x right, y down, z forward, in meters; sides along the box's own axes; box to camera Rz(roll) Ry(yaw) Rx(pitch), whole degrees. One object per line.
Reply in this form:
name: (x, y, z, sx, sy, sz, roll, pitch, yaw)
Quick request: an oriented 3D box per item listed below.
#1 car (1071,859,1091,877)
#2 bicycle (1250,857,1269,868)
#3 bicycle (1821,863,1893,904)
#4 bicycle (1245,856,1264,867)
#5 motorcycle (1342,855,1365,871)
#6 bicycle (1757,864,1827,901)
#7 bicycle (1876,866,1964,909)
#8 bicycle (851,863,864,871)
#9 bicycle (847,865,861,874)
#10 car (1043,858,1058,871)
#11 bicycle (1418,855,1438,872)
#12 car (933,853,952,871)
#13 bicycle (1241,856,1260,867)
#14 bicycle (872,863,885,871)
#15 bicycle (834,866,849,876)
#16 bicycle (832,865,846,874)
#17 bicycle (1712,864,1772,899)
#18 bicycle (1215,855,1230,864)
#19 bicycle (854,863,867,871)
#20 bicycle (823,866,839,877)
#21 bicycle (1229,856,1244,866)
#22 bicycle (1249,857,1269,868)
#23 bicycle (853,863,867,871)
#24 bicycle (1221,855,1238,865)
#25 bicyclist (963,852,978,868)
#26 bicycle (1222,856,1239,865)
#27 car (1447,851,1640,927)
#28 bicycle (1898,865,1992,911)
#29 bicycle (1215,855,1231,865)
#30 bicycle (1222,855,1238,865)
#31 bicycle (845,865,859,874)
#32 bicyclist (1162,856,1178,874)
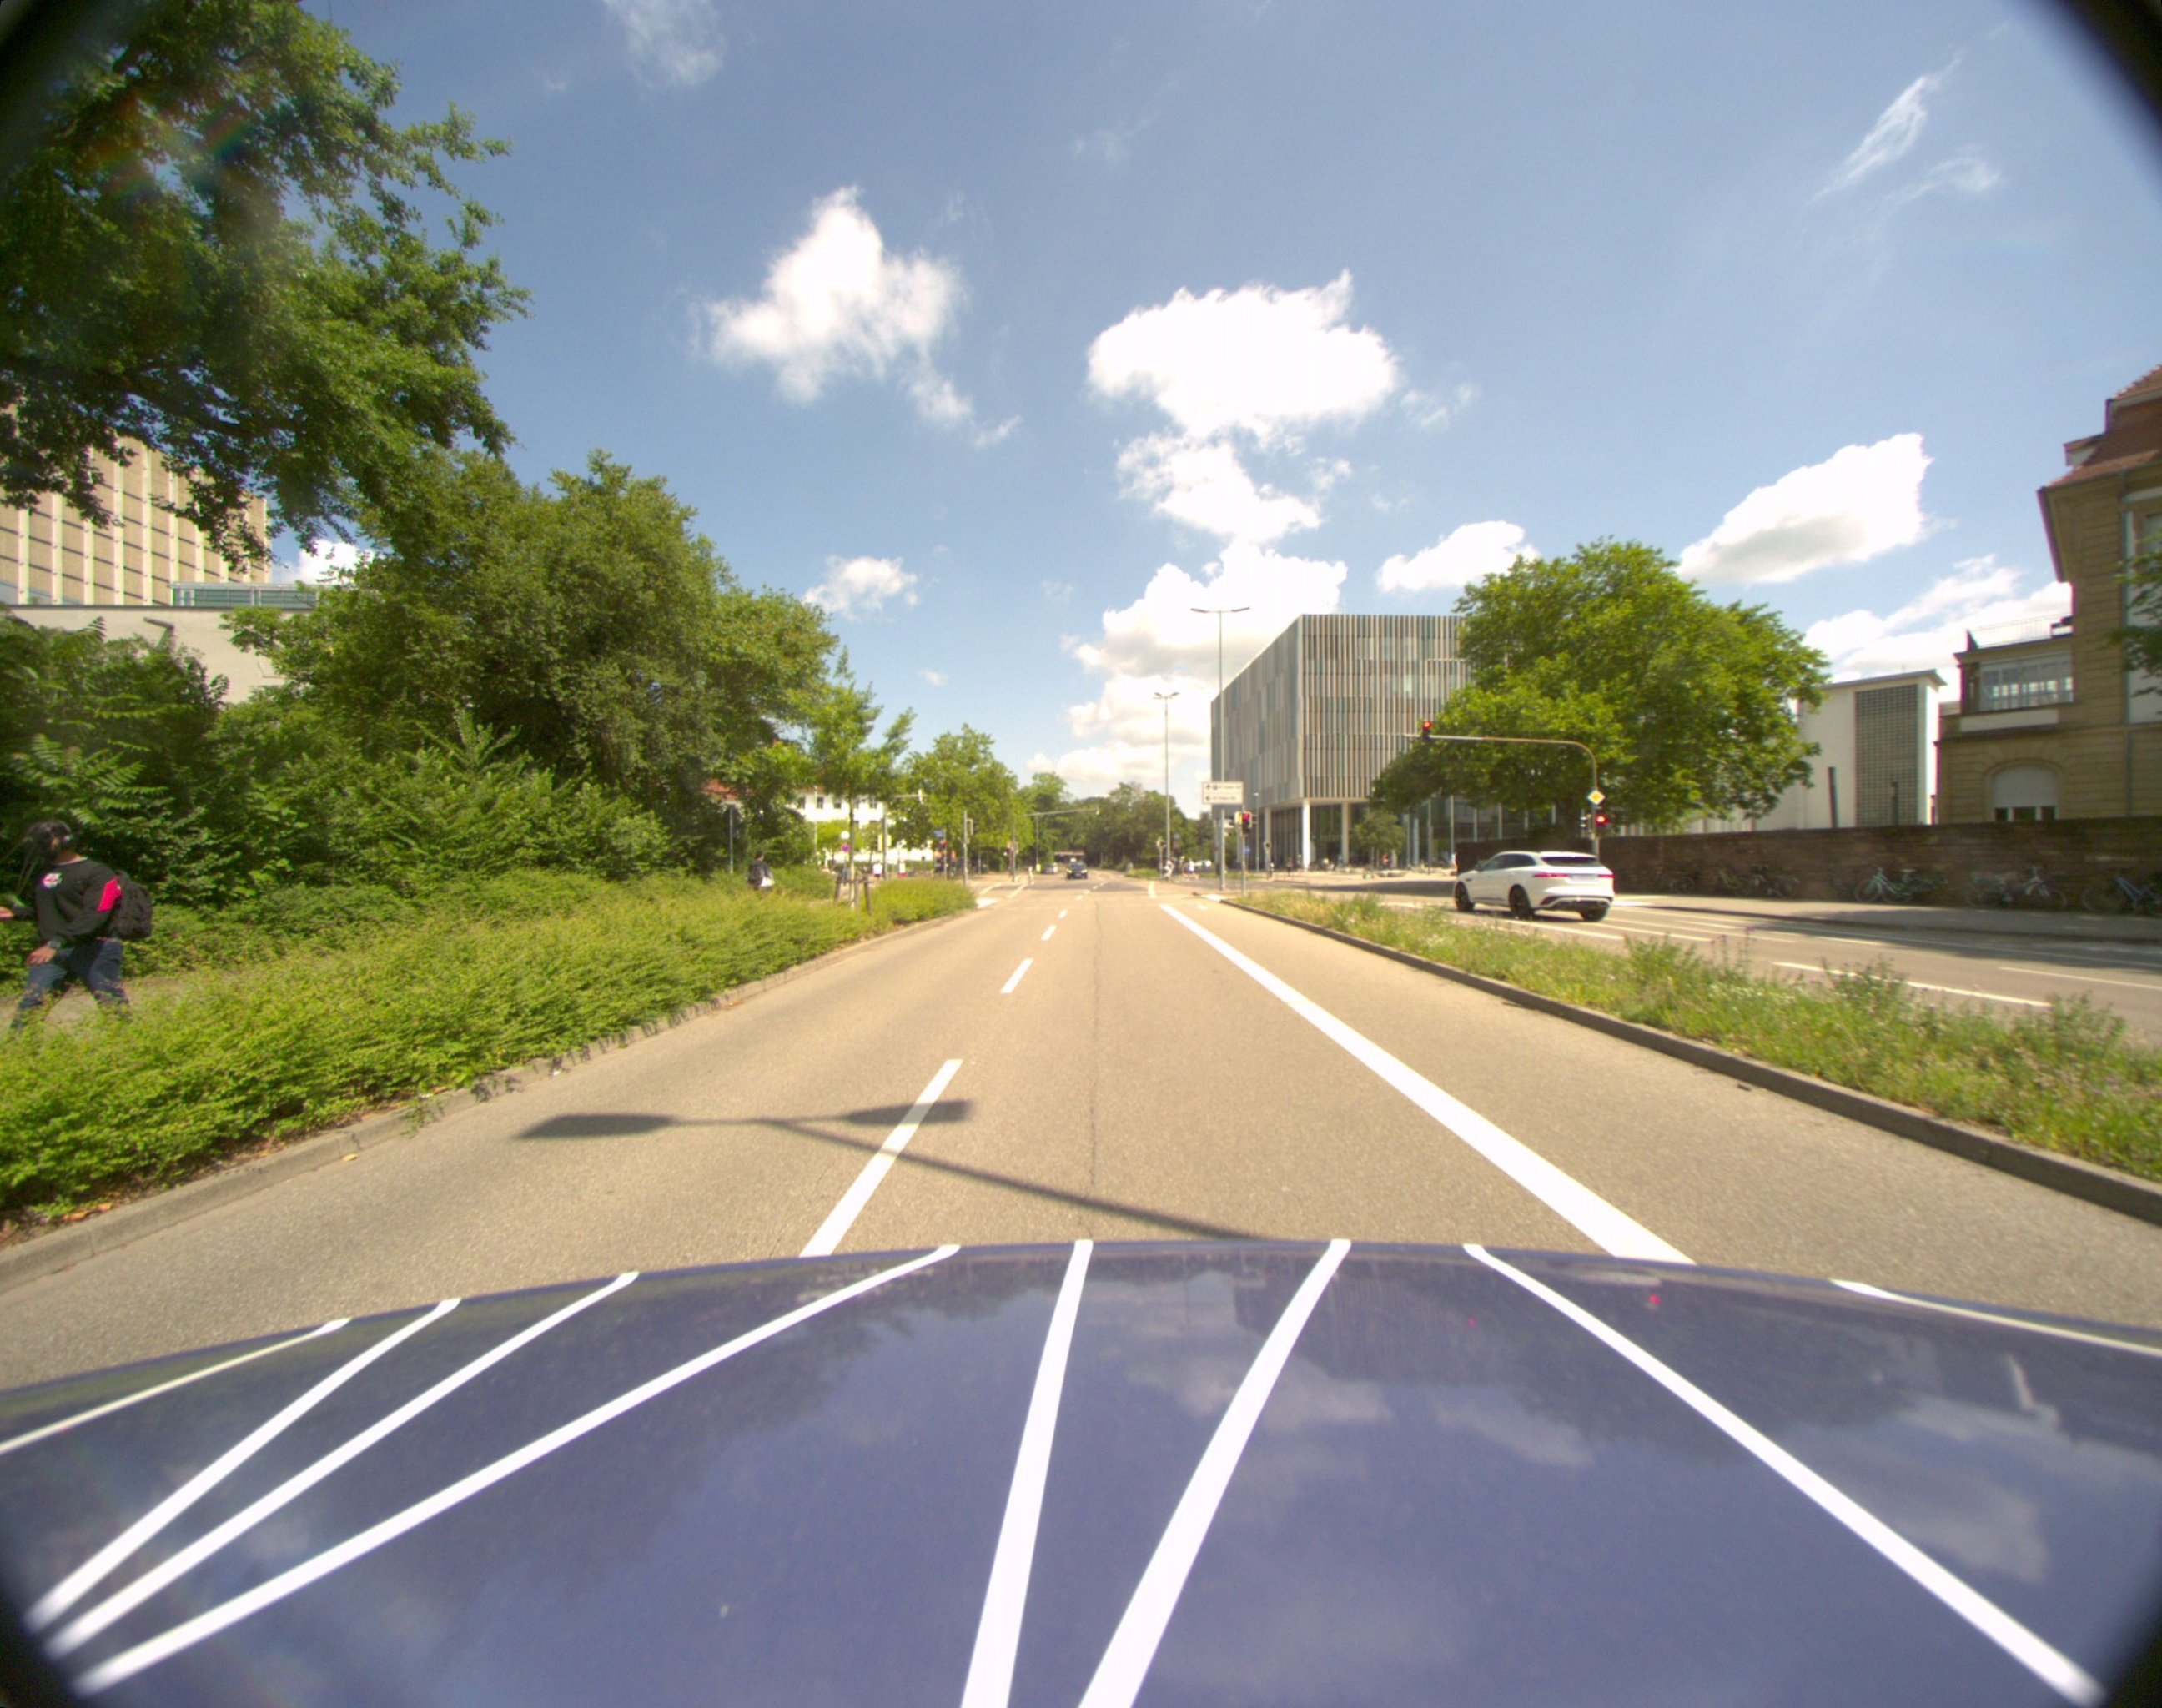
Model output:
car: (-0.029, 1.324, 71.693, 1.846, 1.593, 3.999, -1, 0, -2)
bicycle: (24.201, 1.121, 103.057, 2.509, 1.486, 0.730, -1, 0, 11)
bicycle: (23.063, 0.859, 22.623, 0.413, 1.145, 1.593, -1, 0, -5)
bicycle: (24.365, 1.086, 106.637, 2.511, 1.486, 0.621, -1, 0, 1)
motorcycle: (28.236, 0.909, 78.748, 3.305, 1.630, 0.969, 0, 0, -45)
bicycle: (22.728, 0.897, 24.326, 0.623, 1.145, 1.593, -1, 0, -8)
bicycle: (23.136, 0.903, 20.988, 0.403, 1.145, 1.591, -1, 0, -22)
bicycle: (-25.720, 1.524, 87.487, 1.428, 0.945, 0.352, -1, 0, -5)
bicycle: (-23.486, 1.582, 78.573, 1.371, 0.945, 0.352, -1, 0, -5)
car: (-4.209, 1.382, 103.151, 1.913, 1.772, 3.999, -1, 0, -3)
bicycle: (33.346, 0.882, 72.976, 0.997, 1.543, 3.422, -1, 0, 37)
car: (-16.063, 0.920, 88.113, 2.000, 2.042, 4.226, -1, 0, -8)
bicycle: (23.620, 1.103, 105.740, 2.511, 1.486, 0.621, -1, 0, 1)
bicycle: (-23.731, 1.488, 88.993, 1.428, 0.945, 0.352, -1, 0, -5)
bicycle: (-23.358, 1.622, 74.093, 1.371, 0.945, 0.352, -1, 0, -5)
bicycle: (-25.190, 1.596, 79.121, 1.412, 0.945, 0.352, -1, 0, -5)
bicycle: (22.618, 0.917, 26.028, 0.500, 1.145, 1.593, -1, 0, -8)
bicycle: (23.152, 0.933, 124.531, 2.302, 1.486, 0.657, -1, 0, 1)
bicycle: (-25.709, 1.513, 88.566, 1.428, 0.945, 0.352, -1, 0, -5)
bicycle: (-23.713, 1.650, 72.012, 1.371, 0.945, 0.352, -1, 0, -5)
bicycle: (23.564, 1.016, 115.173, 2.071, 1.486, 0.621, -1, 0, 1)
bicycle: (23.912, 1.135, 102.052, 2.451, 1.486, 0.621, -1, 0, 1)
bicycle: (-25.657, 1.517, 88.155, 1.428, 0.945, 0.352, -1, 0, -5)
bicycle: (23.247, 0.985, 118.850, 2.511, 1.486, 0.621, -1, 0, 1)
bicyclist: (-10.475, 0.556, 72.051, 1.074, 1.436, 0.973, -1, 0, 25)
bicycle: (23.153, 0.997, 117.737, 2.511, 1.486, 0.621, -1, 0, 1)
car: (11.425, 0.788, 19.270, 2.076, 1.657, 4.776, -1, 0, 2)
bicycle: (22.941, 0.884, 20.205, 0.403, 1.145, 1.590, -1, 0, -32)
bicycle: (23.054, 0.946, 123.245, 2.511, 1.486, 0.621, -1, 0, 1)
bicycle: (23.467, 0.972, 119.918, 2.330, 1.486, 0.621, -1, 0, 1)
bicycle: (-23.464, 1.602, 77.914, 1.371, 0.945, 0.352, -1, 0, -5)
bicyclist: (5.999, 0.751, 51.198, 0.835, 1.219, 0.617, -1, 0, -44)
